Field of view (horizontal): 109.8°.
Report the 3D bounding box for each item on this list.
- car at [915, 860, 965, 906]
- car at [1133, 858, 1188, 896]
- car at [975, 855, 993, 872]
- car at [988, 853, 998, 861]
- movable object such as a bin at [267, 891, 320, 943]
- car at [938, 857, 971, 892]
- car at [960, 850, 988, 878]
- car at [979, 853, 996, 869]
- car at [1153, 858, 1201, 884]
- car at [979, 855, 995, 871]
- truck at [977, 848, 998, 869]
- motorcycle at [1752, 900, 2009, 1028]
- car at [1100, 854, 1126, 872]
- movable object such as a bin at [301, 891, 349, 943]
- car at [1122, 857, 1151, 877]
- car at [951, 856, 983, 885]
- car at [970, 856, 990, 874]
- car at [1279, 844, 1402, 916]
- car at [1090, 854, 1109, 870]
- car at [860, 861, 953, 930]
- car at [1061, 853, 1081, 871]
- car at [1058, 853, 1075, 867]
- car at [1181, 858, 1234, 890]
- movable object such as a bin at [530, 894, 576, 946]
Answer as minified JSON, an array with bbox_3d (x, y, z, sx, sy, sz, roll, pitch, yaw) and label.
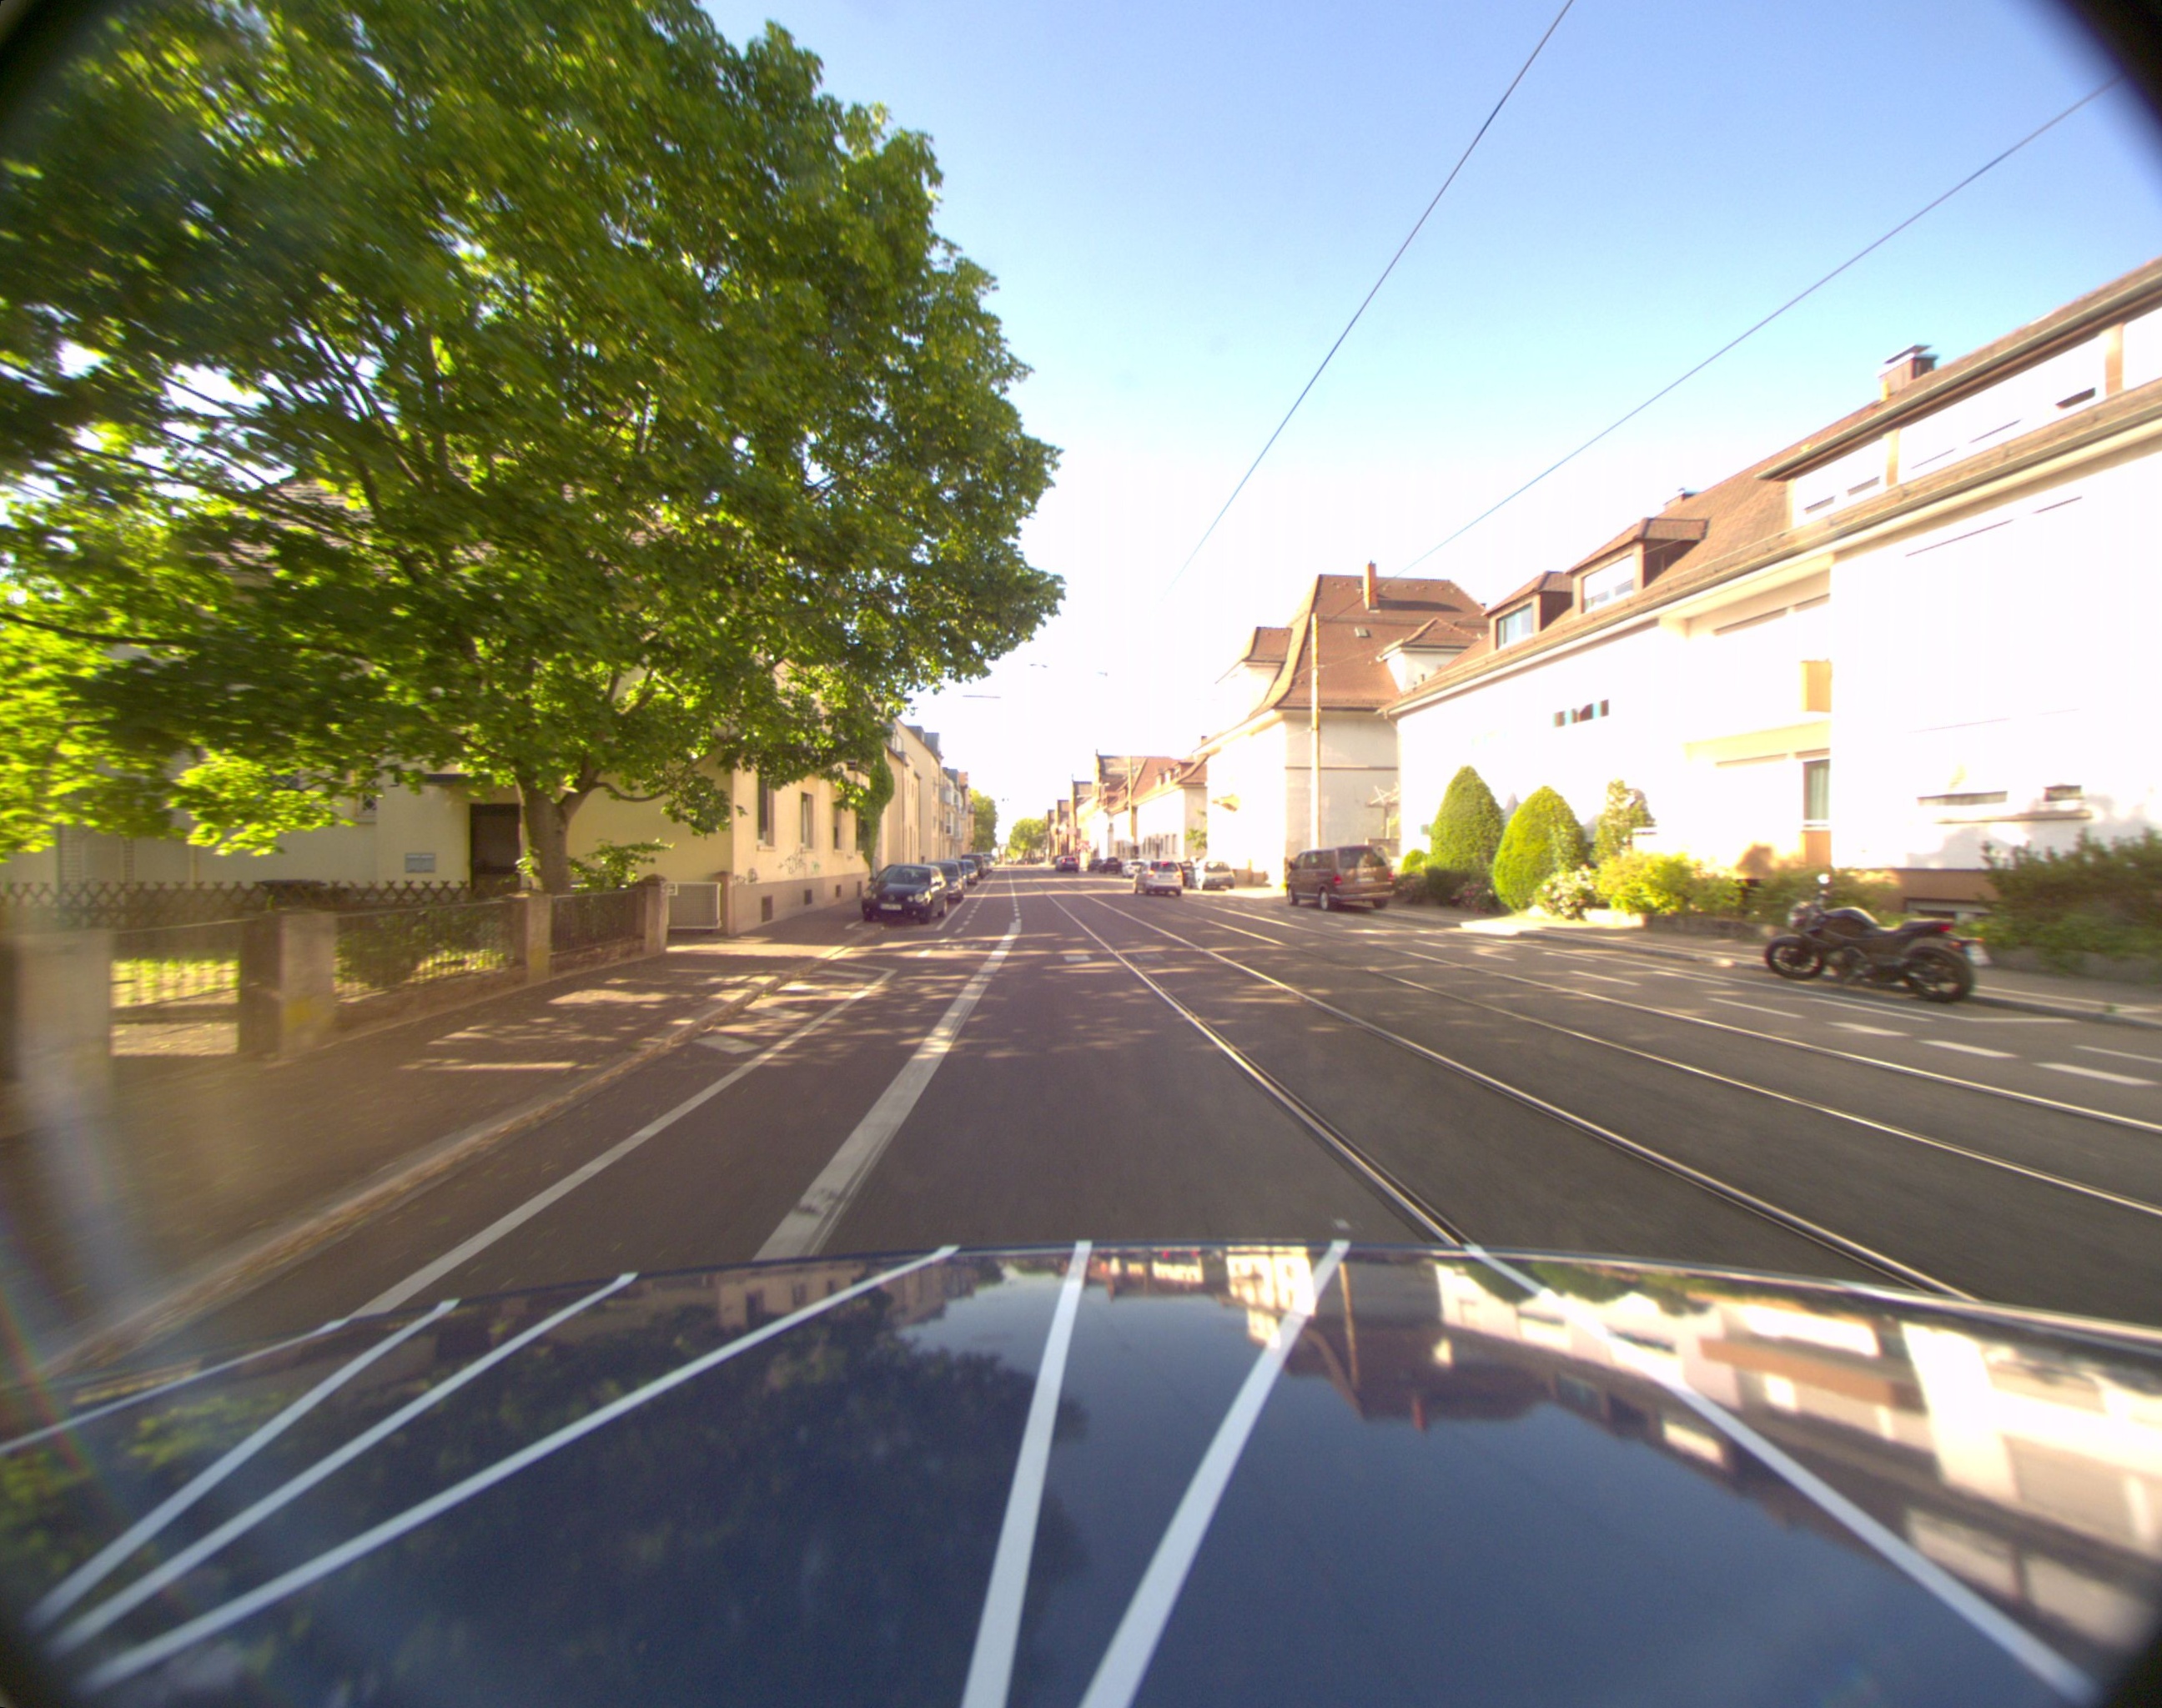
[{"bbox_3d":[-5.208,1.036,28.430,1.606,1.516,3.547,-2,0,-7],"label":"car"},{"bbox_3d":[3.237,0.914,31.457,1.580,1.468,3.439,1,0,-5],"label":"car"},{"bbox_3d":[-9.290,0.876,73.005,1.558,1.548,3.650,-2,0,-6],"label":"car"},{"bbox_3d":[-18.510,0.586,160.049,1.985,1.539,4.033,0,-1,-5],"label":"car"},{"bbox_3d":[-14.648,1.168,14.139,0.517,0.926,0.437,0,0,-2],"label":"movable object such as a bin"},{"bbox_3d":[-6.229,0.985,37.691,1.462,1.590,3.292,-2,0,-7],"label":"car"},{"bbox_3d":[-8.198,0.749,58.381,1.911,1.975,4.560,-2,0,-6],"label":"car"},{"bbox_3d":[-10.706,0.814,87.595,1.744,1.736,4.253,-2,0,-5],"label":"car"},{"bbox_3d":[5.606,0.967,44.892,1.668,1.468,4.247,0,0,-9],"label":"car"},{"bbox_3d":[-9.579,0.906,77.443,1.501,1.548,3.363,-2,0,-6],"label":"car"},{"bbox_3d":[-11.487,0.556,93.737,2.302,2.463,6.143,0,0,-5],"label":"truck"},{"bbox_3d":[9.100,1.188,8.819,0.538,1.155,2.170,1,0,-5],"label":"motorcycle"},{"bbox_3d":[3.090,0.844,74.329,1.767,1.695,4.552,1,0,-6],"label":"car"},{"bbox_3d":[-14.088,1.172,14.158,0.449,0.926,0.437,0,0,-2],"label":"movable object such as a bin"},{"bbox_3d":[4.298,0.997,59.633,1.636,1.449,4.013,1,0,-5],"label":"car"},{"bbox_3d":[-6.973,0.978,46.768,1.750,1.589,4.430,-2,0,-7],"label":"car"},{"bbox_3d":[-8.993,0.952,67.999,1.682,1.482,4.170,-2,0,-6],"label":"car"},{"bbox_3d":[8.039,0.737,24.085,1.911,2.002,4.947,-2,0,-3],"label":"car"},{"bbox_3d":[2.074,0.890,85.962,1.620,1.618,3.919,1,0,-6],"label":"car"},{"bbox_3d":[-4.431,0.984,19.800,1.670,1.555,3.769,0,1,-2],"label":"car"},{"bbox_3d":[-1.093,0.814,78.327,1.709,1.695,4.361,1,0,-5],"label":"car"},{"bbox_3d":[-1.680,0.650,86.312,1.622,1.452,4.073,1,0,-4],"label":"car"},{"bbox_3d":[6.342,0.955,38.412,1.681,1.468,3.833,-2,0,-5],"label":"car"},{"bbox_3d":[-9.982,1.246,14.380,0.530,0.942,0.498,0,0,-2],"label":"movable object such as a bin"}]
